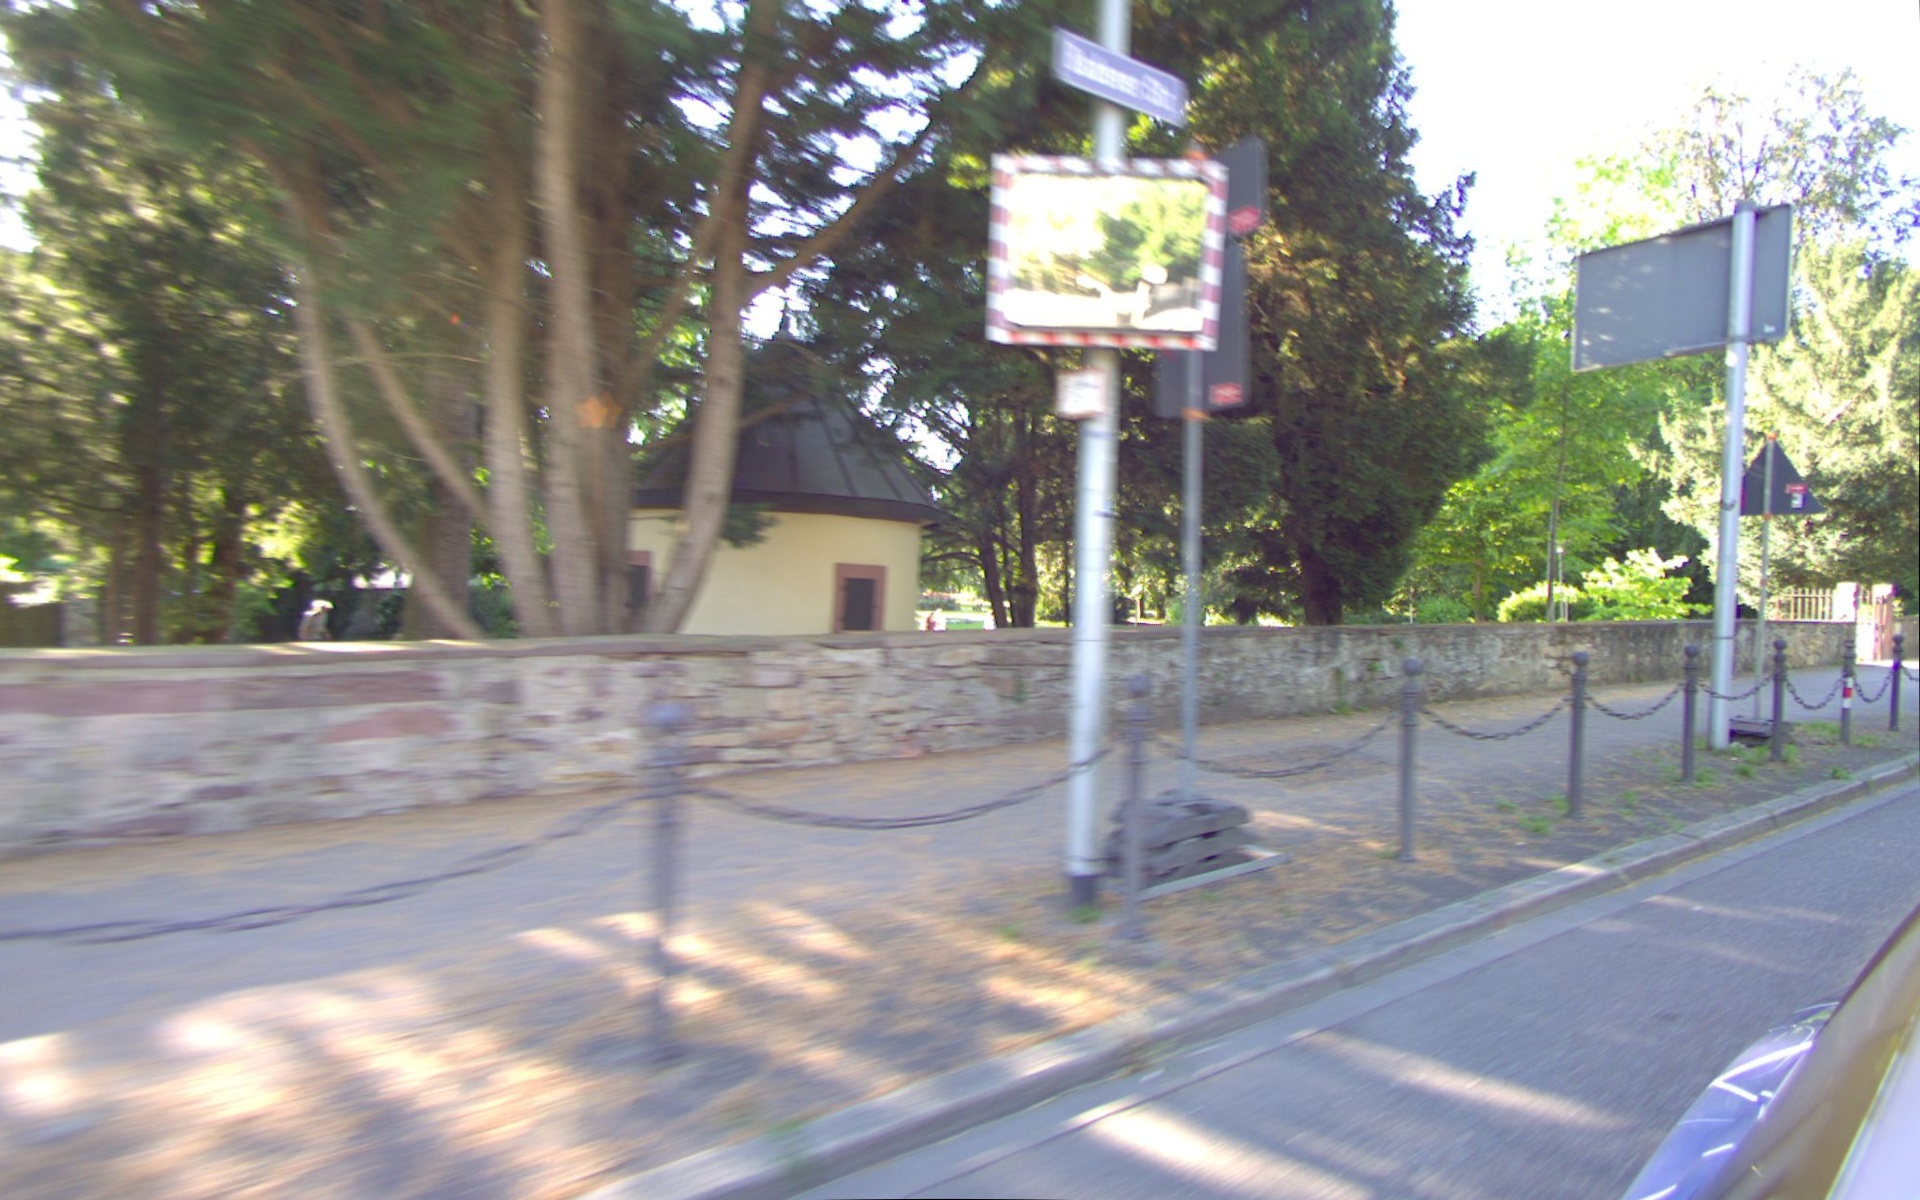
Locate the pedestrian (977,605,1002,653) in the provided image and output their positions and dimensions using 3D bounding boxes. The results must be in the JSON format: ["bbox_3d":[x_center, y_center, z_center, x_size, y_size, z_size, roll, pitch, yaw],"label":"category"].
[{"bbox_3d":[1.039,1.017,35.614,0.624,1.661,0.616,0,-1,-34],"label":"pedestrian"}]

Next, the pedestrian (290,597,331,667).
[{"bbox_3d":[-13.891,0.670,21.639,0.662,1.470,0.601,0,-1,-39],"label":"pedestrian"}]

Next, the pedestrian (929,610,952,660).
[{"bbox_3d":[-0.705,1.246,36.365,0.587,1.752,0.591,0,-1,-35],"label":"pedestrian"}]

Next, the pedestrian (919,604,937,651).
[{"bbox_3d":[-1.131,0.963,35.608,0.555,1.639,0.761,0,-1,-7],"label":"pedestrian"}]
